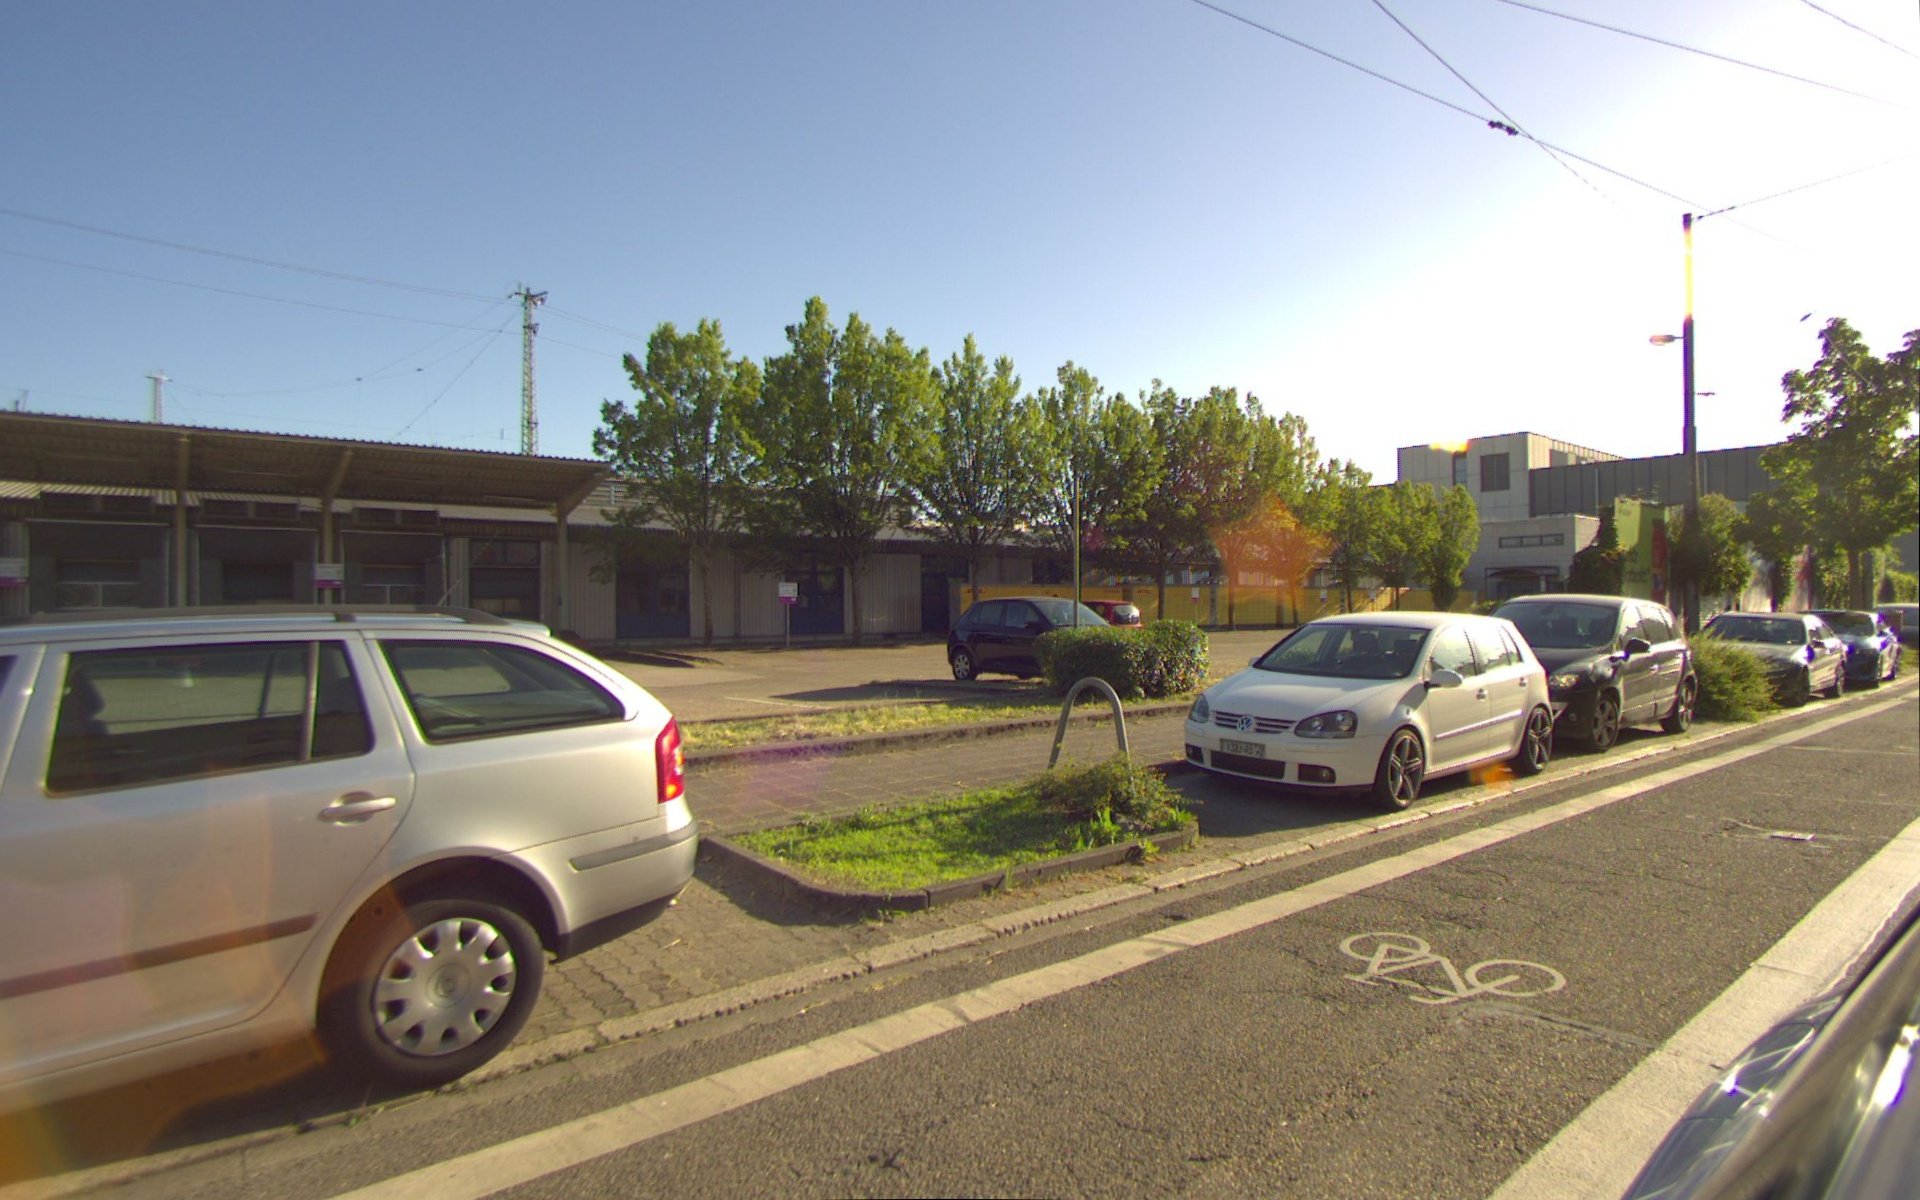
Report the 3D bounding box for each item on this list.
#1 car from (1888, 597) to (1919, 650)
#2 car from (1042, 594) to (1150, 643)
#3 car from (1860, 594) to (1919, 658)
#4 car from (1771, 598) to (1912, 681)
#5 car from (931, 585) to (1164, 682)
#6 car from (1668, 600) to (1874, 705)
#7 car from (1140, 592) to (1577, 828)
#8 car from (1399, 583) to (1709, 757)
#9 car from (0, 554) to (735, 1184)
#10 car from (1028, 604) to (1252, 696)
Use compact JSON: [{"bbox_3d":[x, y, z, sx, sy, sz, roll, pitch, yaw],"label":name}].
[{"bbox_3d":[29.438,0.658,30.258,4.558,1.470,1.828,-1,0,-39],"label":"car"},{"bbox_3d":[4.456,0.581,33.501,1.708,1.515,3.321,-1,0,-37],"label":"car"},{"bbox_3d":[24.772,0.633,26.131,3.748,1.511,1.827,-1,2,-41],"label":"car"},{"bbox_3d":[18.033,0.739,20.637,4.268,1.483,1.729,-1,-2,-43],"label":"car"},{"bbox_3d":[1.344,0.541,16.775,1.728,1.418,3.709,-1,-1,-40],"label":"car"},{"bbox_3d":[13.646,0.795,16.940,4.417,1.483,1.731,-1,-1,-39],"label":"car"},{"bbox_3d":[3.598,0.724,8.786,4.175,1.531,1.732,-1,1,-39],"label":"car"},{"bbox_3d":[6.966,0.635,11.687,4.265,1.624,1.732,-1,2,-40],"label":"car"},{"bbox_3d":[-3.175,0.667,3.058,4.519,1.549,1.914,-1,0,-40],"label":"car"},{"bbox_3d":[2.450,0.620,13.463,3.003,1.046,1.311,-1,-1,-40],"label":"car"}]
